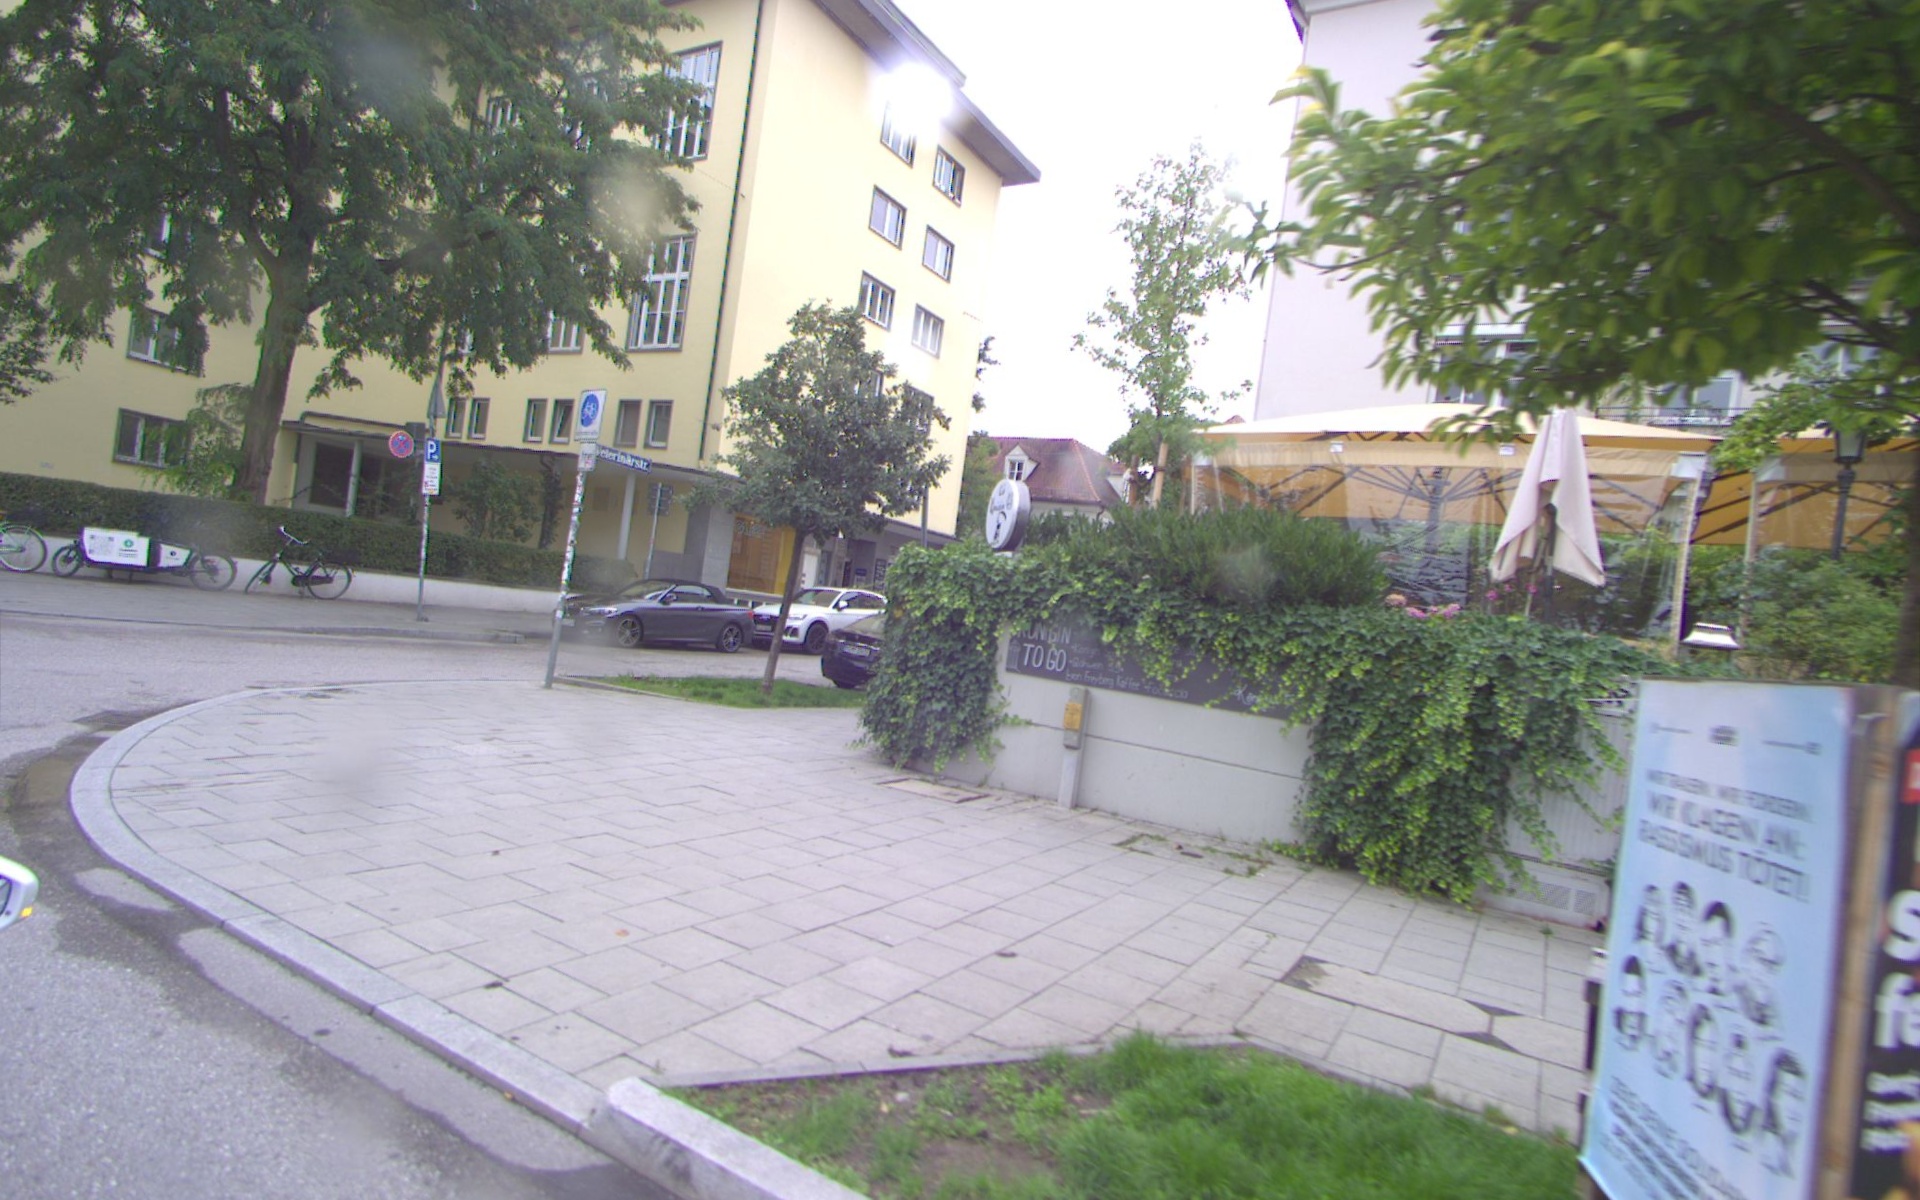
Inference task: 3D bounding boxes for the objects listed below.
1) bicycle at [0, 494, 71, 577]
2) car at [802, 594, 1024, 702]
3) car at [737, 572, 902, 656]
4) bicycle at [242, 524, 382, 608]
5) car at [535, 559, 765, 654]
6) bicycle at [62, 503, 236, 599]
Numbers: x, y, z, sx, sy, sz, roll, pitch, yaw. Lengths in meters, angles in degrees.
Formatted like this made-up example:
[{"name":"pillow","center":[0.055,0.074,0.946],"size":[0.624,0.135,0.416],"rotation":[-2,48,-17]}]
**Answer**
[{"name":"bicycle","center":[-15.149,-1.059,15.609],"size":[1.896,1.217,0.594],"rotation":[6,1,-13]},{"name":"car","center":[-0.673,0.888,17.416],"size":[1.860,1.419,3.995],"rotation":[8,-1,29]},{"name":"car","center":[-3.364,0.397,24.875],"size":[1.713,1.718,4.103],"rotation":[6,0,31]},{"name":"bicycle","center":[-11.571,-0.586,18.031],"size":[0.586,1.216,1.923],"rotation":[8,0,36]},{"name":"car","center":[-6.139,0.190,20.401],"size":[1.670,1.463,4.249],"rotation":[6,-1,34]},{"name":"bicycle","center":[-13.064,-0.773,16.289],"size":[2.057,1.216,0.589],"rotation":[9,0,-36]}]
